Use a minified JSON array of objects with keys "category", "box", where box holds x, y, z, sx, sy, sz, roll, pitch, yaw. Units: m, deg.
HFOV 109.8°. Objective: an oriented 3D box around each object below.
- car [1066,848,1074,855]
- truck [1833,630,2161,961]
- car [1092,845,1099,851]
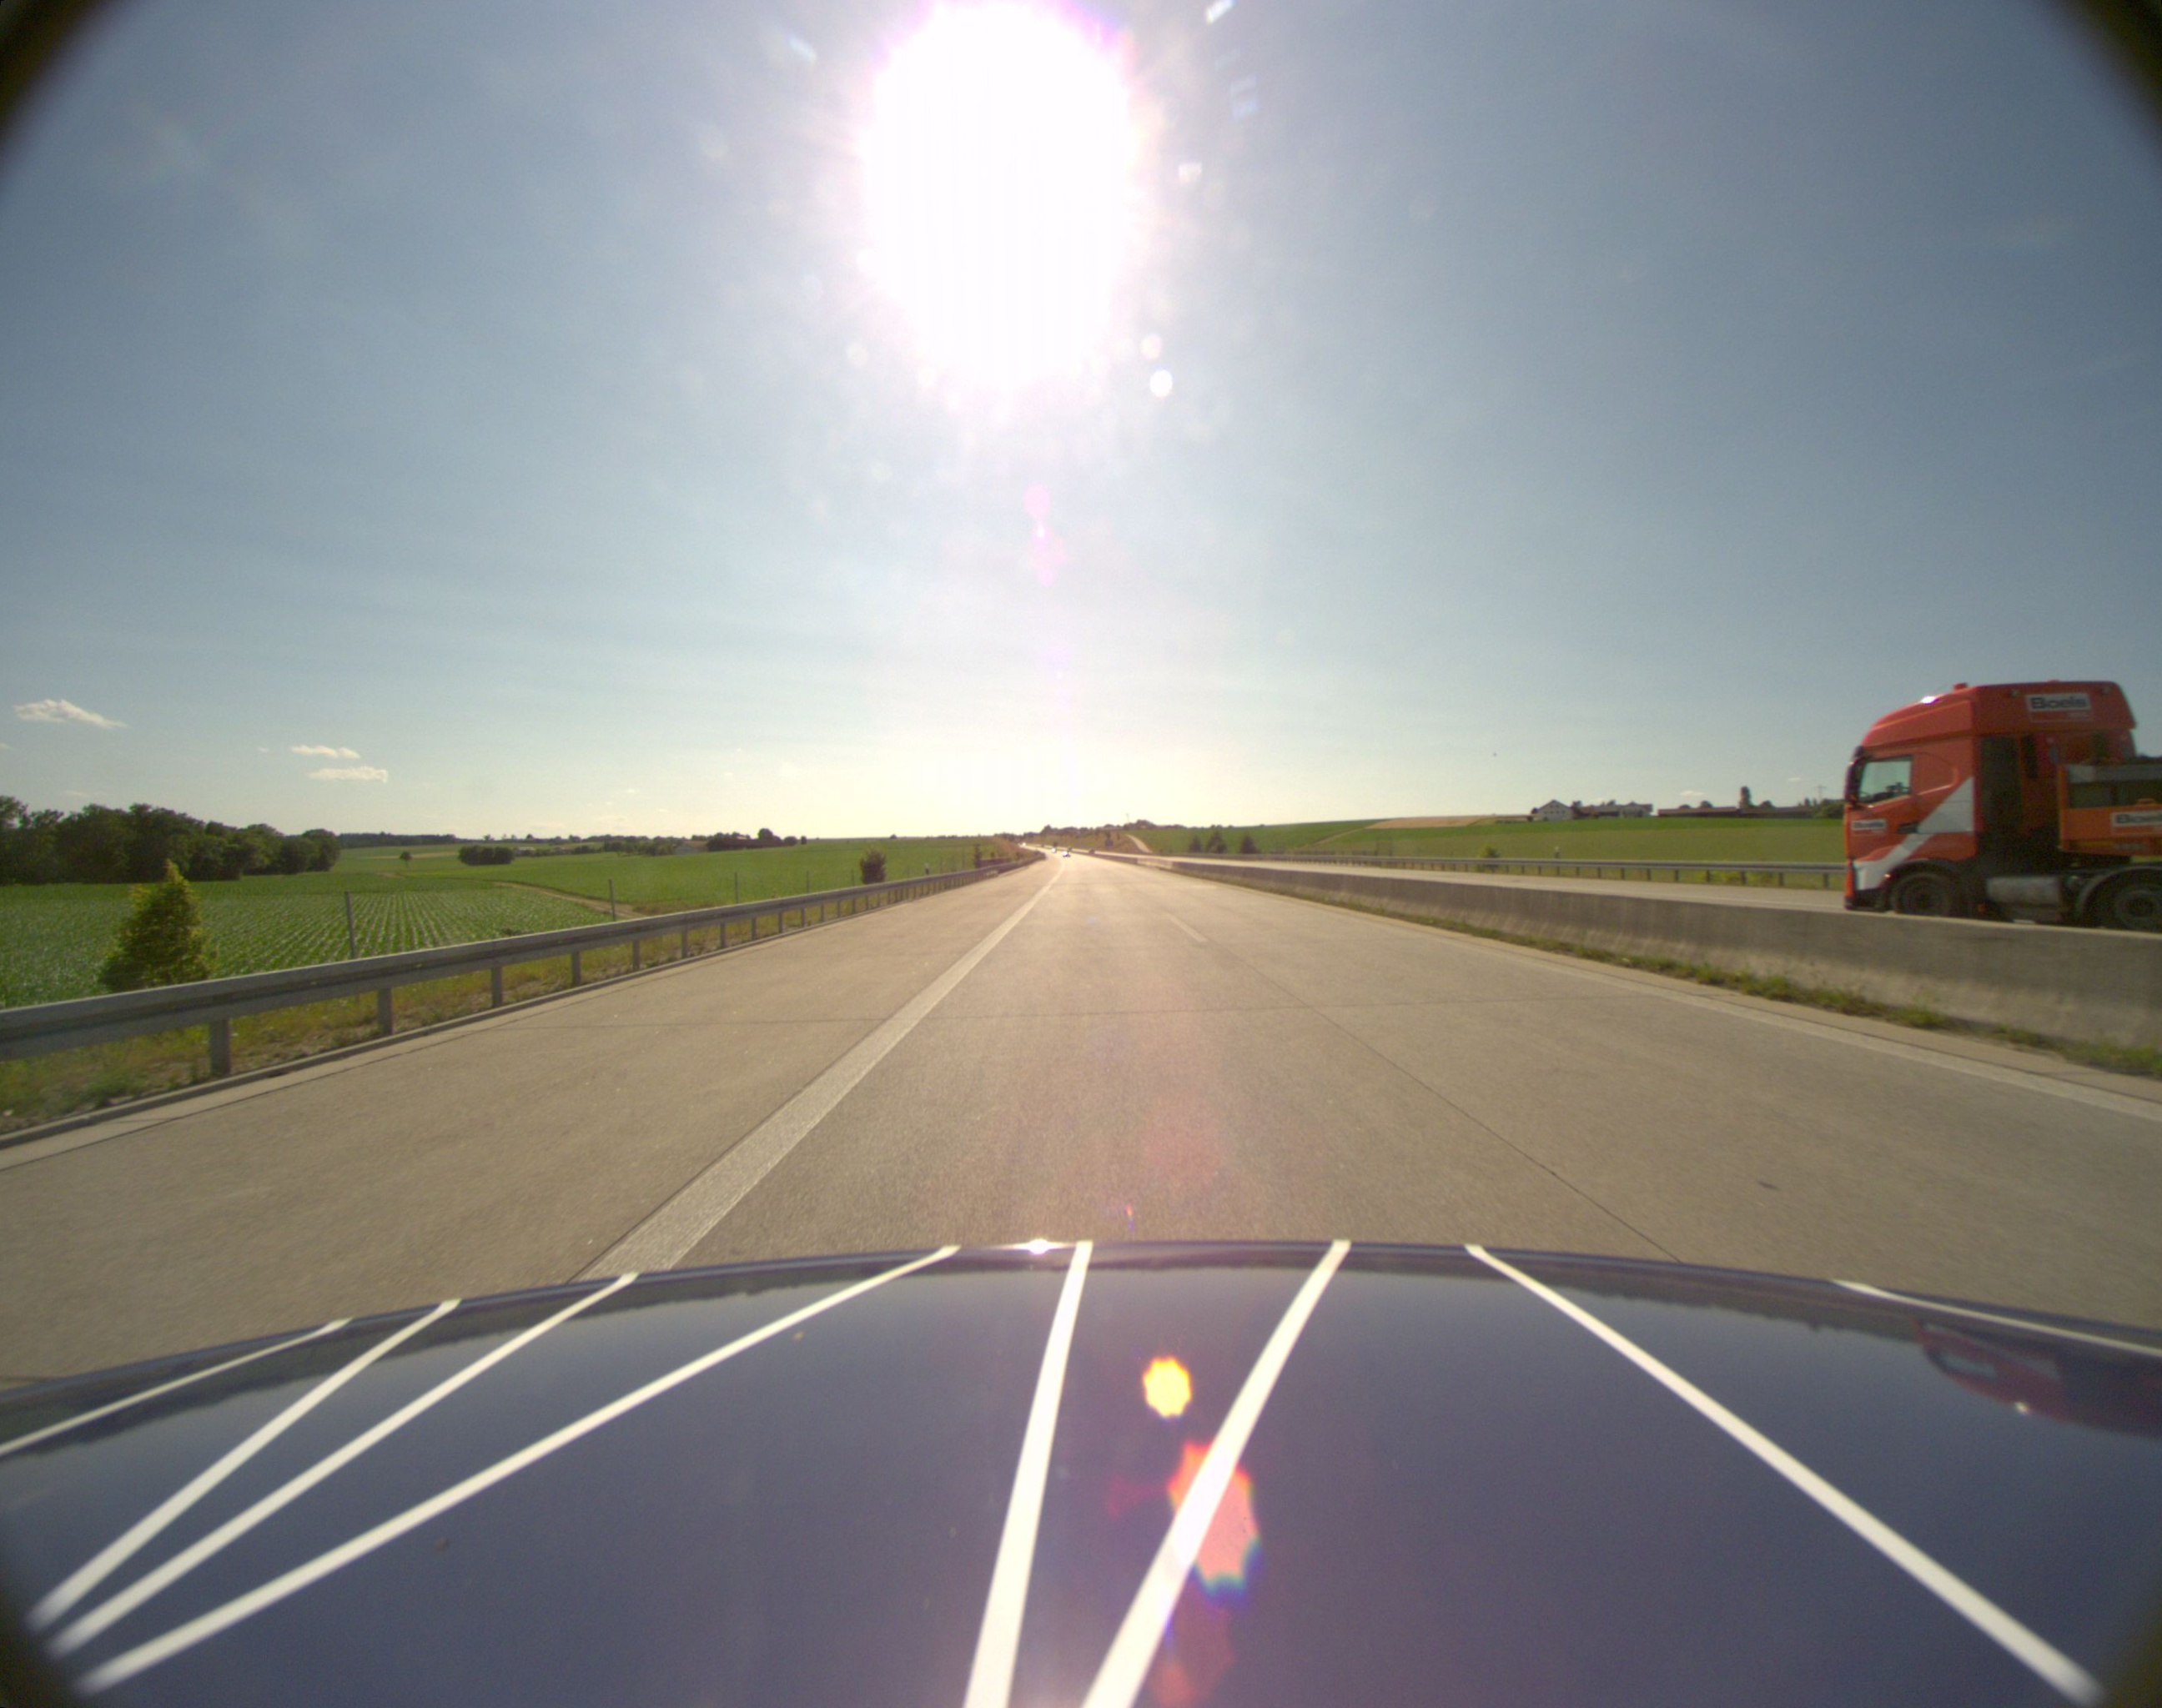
[{"category":"car","box":[-2.552,-0.709,184.461,1.715,1.580,4.627,-2,1,1]},{"category":"truck","box":[14.440,-0.690,4.648,2.875,3.992,17.113,-1,1,1]},{"category":"car","box":[4.610,-1.911,248.823,1.871,1.715,4.397,-2,1,-3]}]
